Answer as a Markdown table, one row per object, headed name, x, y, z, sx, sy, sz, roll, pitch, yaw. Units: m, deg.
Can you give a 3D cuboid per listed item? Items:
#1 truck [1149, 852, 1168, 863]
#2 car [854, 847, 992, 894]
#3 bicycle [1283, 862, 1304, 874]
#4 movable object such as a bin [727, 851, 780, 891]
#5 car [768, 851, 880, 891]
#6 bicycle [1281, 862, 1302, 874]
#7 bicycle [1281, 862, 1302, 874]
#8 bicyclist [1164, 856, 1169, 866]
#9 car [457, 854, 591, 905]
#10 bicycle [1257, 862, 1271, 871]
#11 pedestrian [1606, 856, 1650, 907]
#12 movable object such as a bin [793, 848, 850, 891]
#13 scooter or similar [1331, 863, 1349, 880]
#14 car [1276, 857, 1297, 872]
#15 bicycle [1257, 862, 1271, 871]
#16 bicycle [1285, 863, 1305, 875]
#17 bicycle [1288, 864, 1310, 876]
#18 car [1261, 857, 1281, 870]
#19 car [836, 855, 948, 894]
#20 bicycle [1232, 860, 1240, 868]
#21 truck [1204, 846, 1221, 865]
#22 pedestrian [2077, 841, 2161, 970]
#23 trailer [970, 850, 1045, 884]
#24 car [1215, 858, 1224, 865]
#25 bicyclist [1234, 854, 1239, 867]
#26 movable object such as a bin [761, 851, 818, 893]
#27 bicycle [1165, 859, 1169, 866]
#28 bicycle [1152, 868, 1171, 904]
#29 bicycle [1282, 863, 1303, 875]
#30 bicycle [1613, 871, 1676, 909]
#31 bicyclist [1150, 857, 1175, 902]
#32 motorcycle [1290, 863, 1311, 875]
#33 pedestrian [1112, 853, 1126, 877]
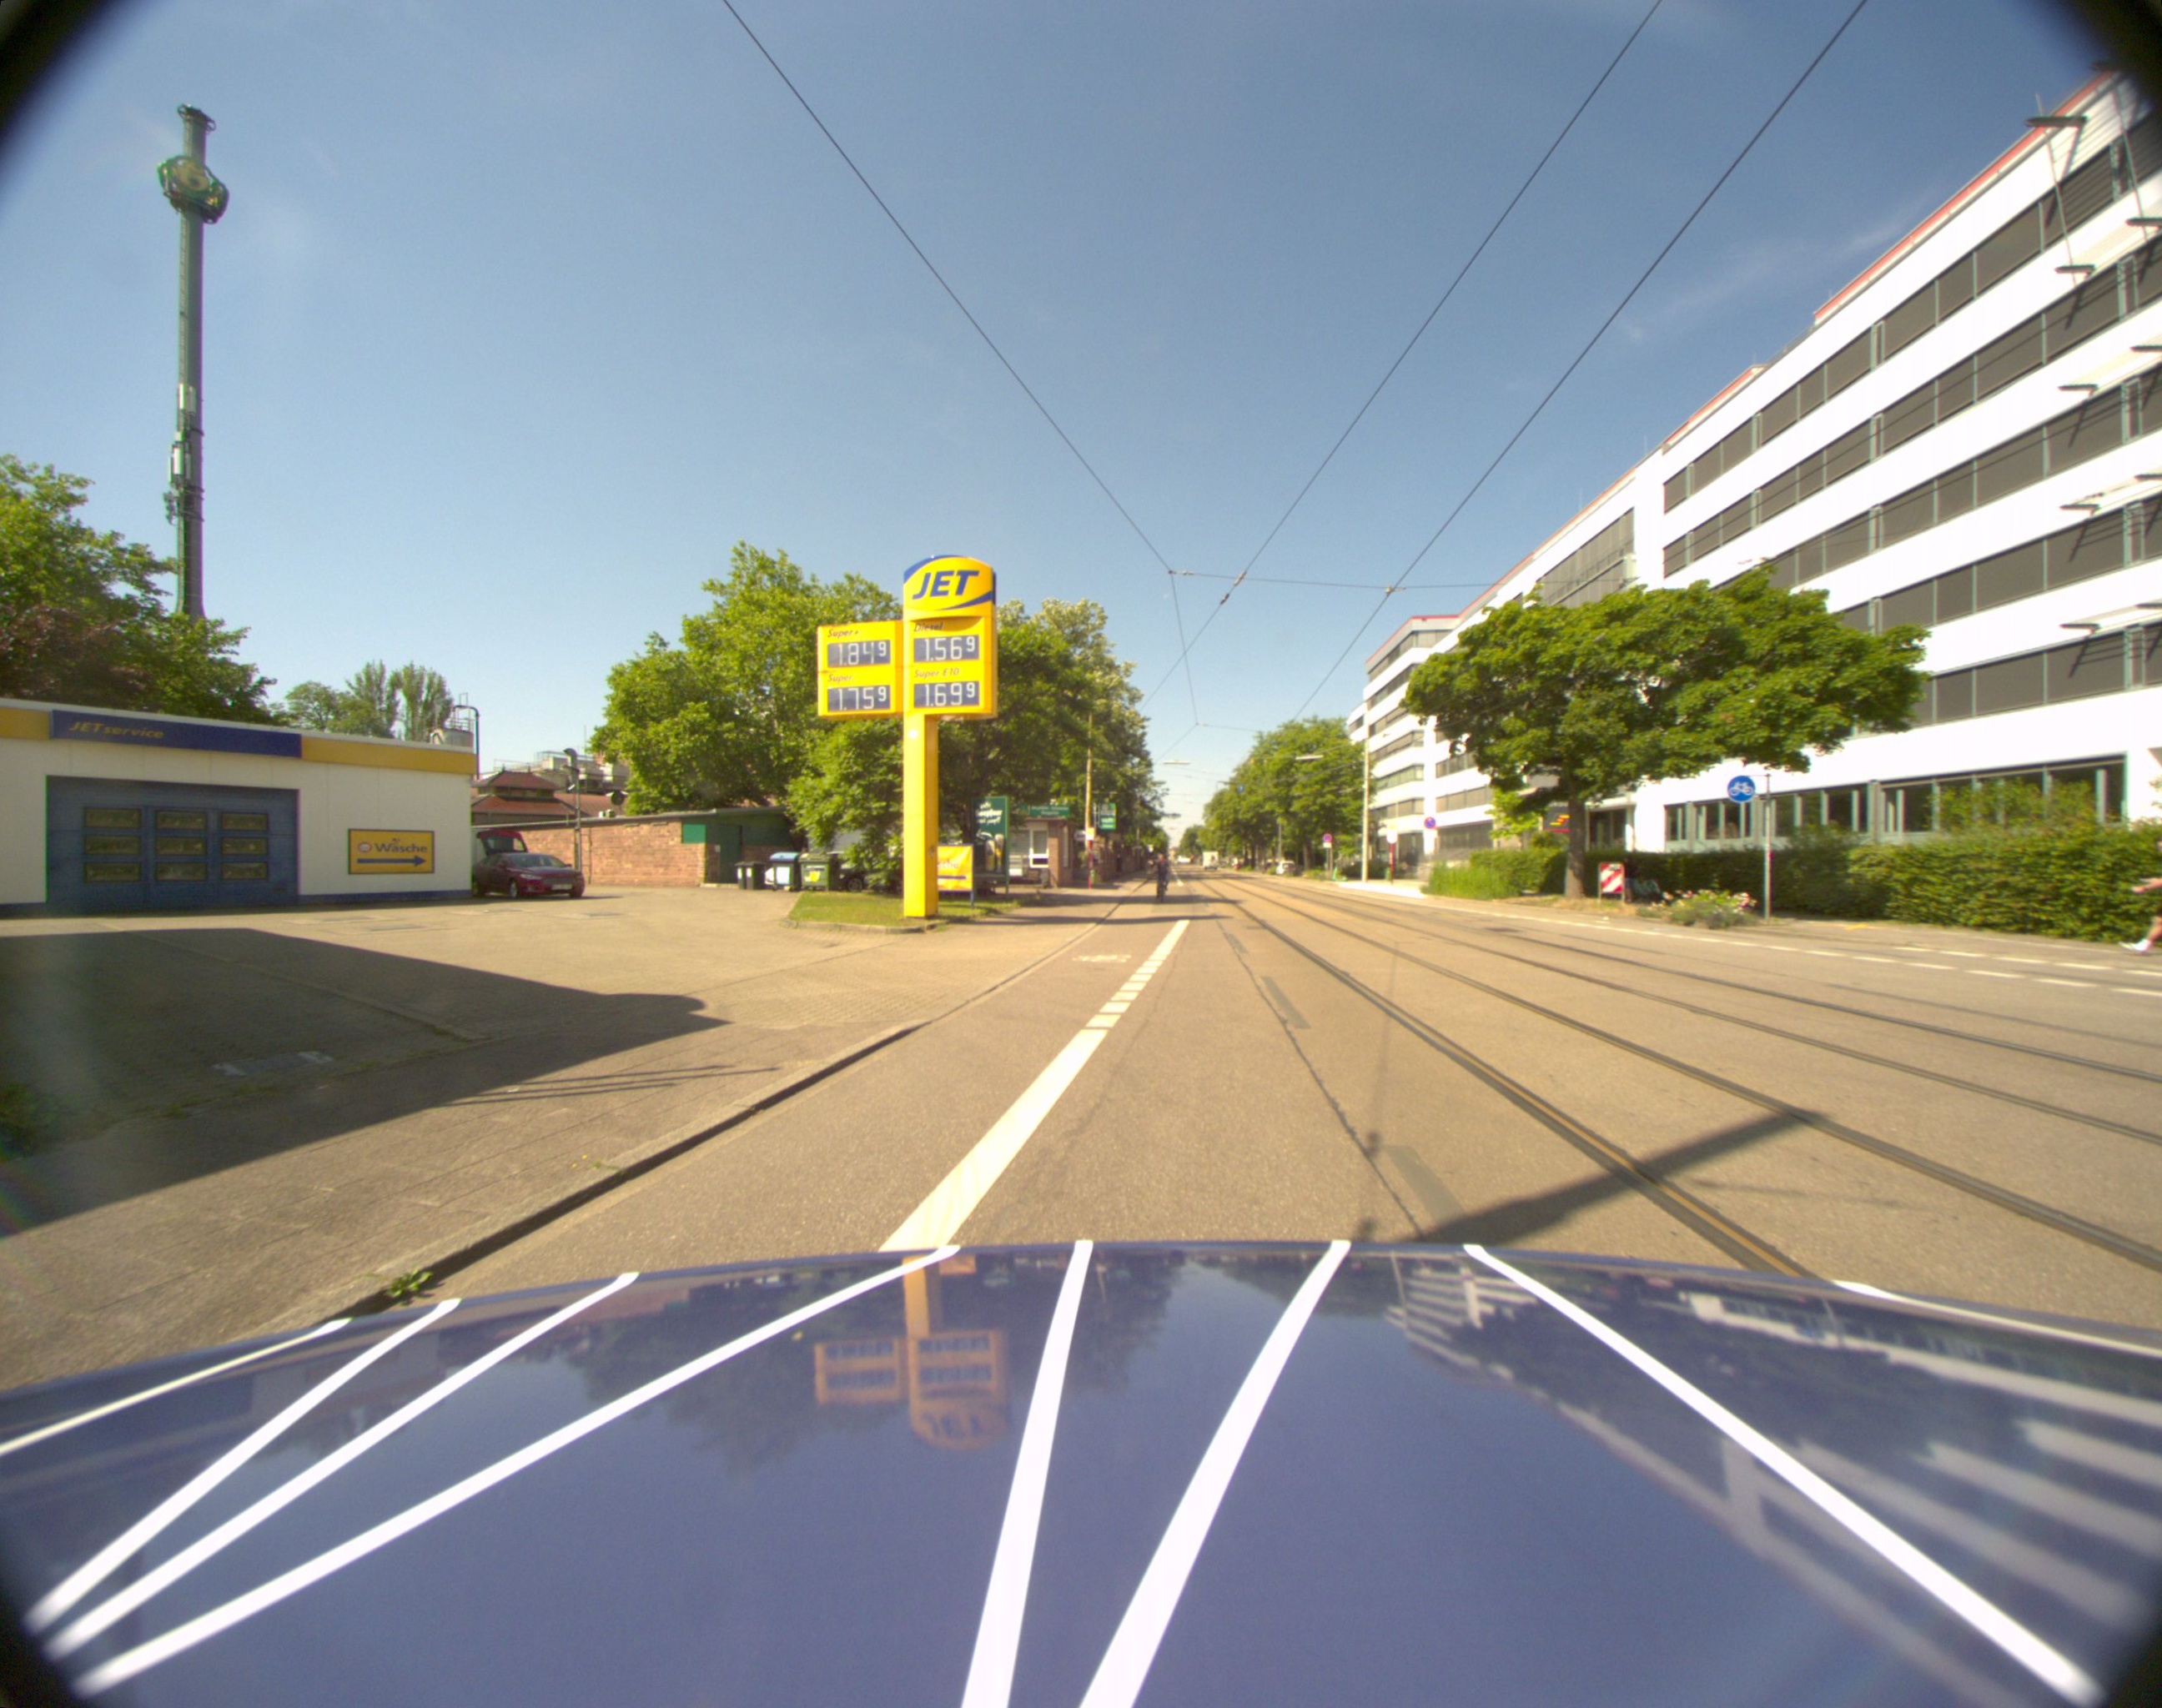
| name | x | y | z | sx | sy | sz | roll | pitch | yaw |
| --- | --- | --- | --- | --- | --- | --- | --- | --- | --- |
| truck | 26.413 | 1.244 | 258.751 | 2.814 | 3.836 | 10.020 | 0 | 0 | 29 |
| car | -5.873 | 0.582 | 28.492 | 4.669 | 1.631 | 2.014 | 1 | 0 | -39 |
| bicycle | 20.031 | 1.343 | 71.679 | 1.796 | 1.080 | 0.727 | 0 | 0 | 6 |
| movable object such as a bin | -12.495 | 0.642 | 29.038 | 1.326 | 1.493 | 1.334 | -2 | 0 | 36 |
| car | -10.655 | 0.685 | 31.640 | 4.008 | 1.548 | 1.842 | 0 | 0 | -39 |
| bicycle | 20.364 | 1.354 | 73.510 | 1.908 | 1.162 | 0.819 | 0 | 0 | 6 |
| bicycle | 20.213 | 1.371 | 72.875 | 1.876 | 1.135 | 0.686 | 0 | 0 | 6 |
| bicyclist | 13.468 | 1.082 | 119.858 | 0.742 | 1.522 | 0.948 | 0 | 0 | 7 |
| car | -17.742 | 0.737 | 24.146 | 4.543 | 1.452 | 1.896 | 0 | 1 | 33 |
| bicycle | 23.659 | 1.626 | 98.421 | 1.728 | 1.080 | 0.479 | 0 | 0 | 6 |
| pedestrian | 17.263 | 0.862 | 23.997 | 0.687 | 1.554 | 0.989 | -2 | 0 | 2 |
| movable object such as a bin | -9.287 | 0.528 | 27.259 | 1.420 | 1.493 | 1.380 | 0 | 0 | 10 |
| scooter or similar | 18.344 | 1.220 | 53.885 | 1.128 | 1.159 | 0.676 | 0 | 0 | 9 |
| car | 20.944 | 1.046 | 77.425 | 1.633 | 1.463 | 3.633 | 0 | 0 | 8 |
| bicycle | 23.528 | 1.617 | 97.886 | 1.728 | 1.080 | 0.615 | 0 | 0 | 6 |
| bicycle | 19.936 | 1.410 | 70.798 | 1.728 | 1.080 | 0.640 | 0 | 0 | 6 |
| bicycle | 19.308 | 1.398 | 67.231 | 1.728 | 1.080 | 0.790 | 0 | 0 | 6 |
| car | 22.353 | 1.155 | 89.586 | 1.633 | 1.474 | 4.275 | 0 | 0 | 5 |
| car | -7.614 | 0.777 | 30.842 | 4.008 | 1.465 | 1.842 | 0 | 0 | -39 |
| bicycle | 21.743 | 1.343 | 106.593 | 0.857 | 1.103 | 2.140 | 0 | 0 | 6 |
| truck | 21.787 | 0.213 | 126.087 | 2.407 | 3.090 | 6.040 | 0 | 0 | 7 |
| pedestrian | 15.549 | 0.718 | 10.975 | 0.892 | 1.807 | 1.073 | 0 | 0 | -4 |
| trailer | -3.527 | 0.628 | 36.779 | 3.280 | 1.594 | 1.724 | 0 | 0 | 8 |
| car | 29.138 | 1.548 | 160.359 | 1.633 | 1.463 | 4.116 | 0 | 0 | 7 |
| bicyclist | 21.778 | 0.882 | 106.545 | 0.637 | 1.860 | 1.025 | 0 | 0 | 6 |
| movable object such as a bin | -10.798 | 0.649 | 28.184 | 1.418 | 1.493 | 1.382 | 0 | 0 | 23 |
| bicycle | 13.553 | 1.381 | 119.932 | 0.593 | 1.099 | 2.055 | 0 | 0 | 7 |
| bicycle | 2.917 | 1.148 | 27.672 | 0.611 | 1.190 | 2.124 | -3 | 0 | 6 |
| bicycle | 20.095 | 1.416 | 72.205 | 1.852 | 1.125 | 0.681 | 0 | 0 | 6 |
| bicycle | 17.676 | 1.105 | 23.892 | 0.637 | 1.111 | 2.068 | 0 | 0 | 6 |
| bicyclist | 2.955 | 0.901 | 27.541 | 0.905 | 1.586 | 0.965 | 0 | 0 | 6 |
| motorcycle | 20.061 | 1.391 | 69.375 | 1.728 | 1.080 | 0.659 | 0 | 0 | 6 |
| pedestrian | 2.942 | 0.809 | 58.382 | 0.978 | 1.805 | 1.185 | -2 | 0 | 7 |
